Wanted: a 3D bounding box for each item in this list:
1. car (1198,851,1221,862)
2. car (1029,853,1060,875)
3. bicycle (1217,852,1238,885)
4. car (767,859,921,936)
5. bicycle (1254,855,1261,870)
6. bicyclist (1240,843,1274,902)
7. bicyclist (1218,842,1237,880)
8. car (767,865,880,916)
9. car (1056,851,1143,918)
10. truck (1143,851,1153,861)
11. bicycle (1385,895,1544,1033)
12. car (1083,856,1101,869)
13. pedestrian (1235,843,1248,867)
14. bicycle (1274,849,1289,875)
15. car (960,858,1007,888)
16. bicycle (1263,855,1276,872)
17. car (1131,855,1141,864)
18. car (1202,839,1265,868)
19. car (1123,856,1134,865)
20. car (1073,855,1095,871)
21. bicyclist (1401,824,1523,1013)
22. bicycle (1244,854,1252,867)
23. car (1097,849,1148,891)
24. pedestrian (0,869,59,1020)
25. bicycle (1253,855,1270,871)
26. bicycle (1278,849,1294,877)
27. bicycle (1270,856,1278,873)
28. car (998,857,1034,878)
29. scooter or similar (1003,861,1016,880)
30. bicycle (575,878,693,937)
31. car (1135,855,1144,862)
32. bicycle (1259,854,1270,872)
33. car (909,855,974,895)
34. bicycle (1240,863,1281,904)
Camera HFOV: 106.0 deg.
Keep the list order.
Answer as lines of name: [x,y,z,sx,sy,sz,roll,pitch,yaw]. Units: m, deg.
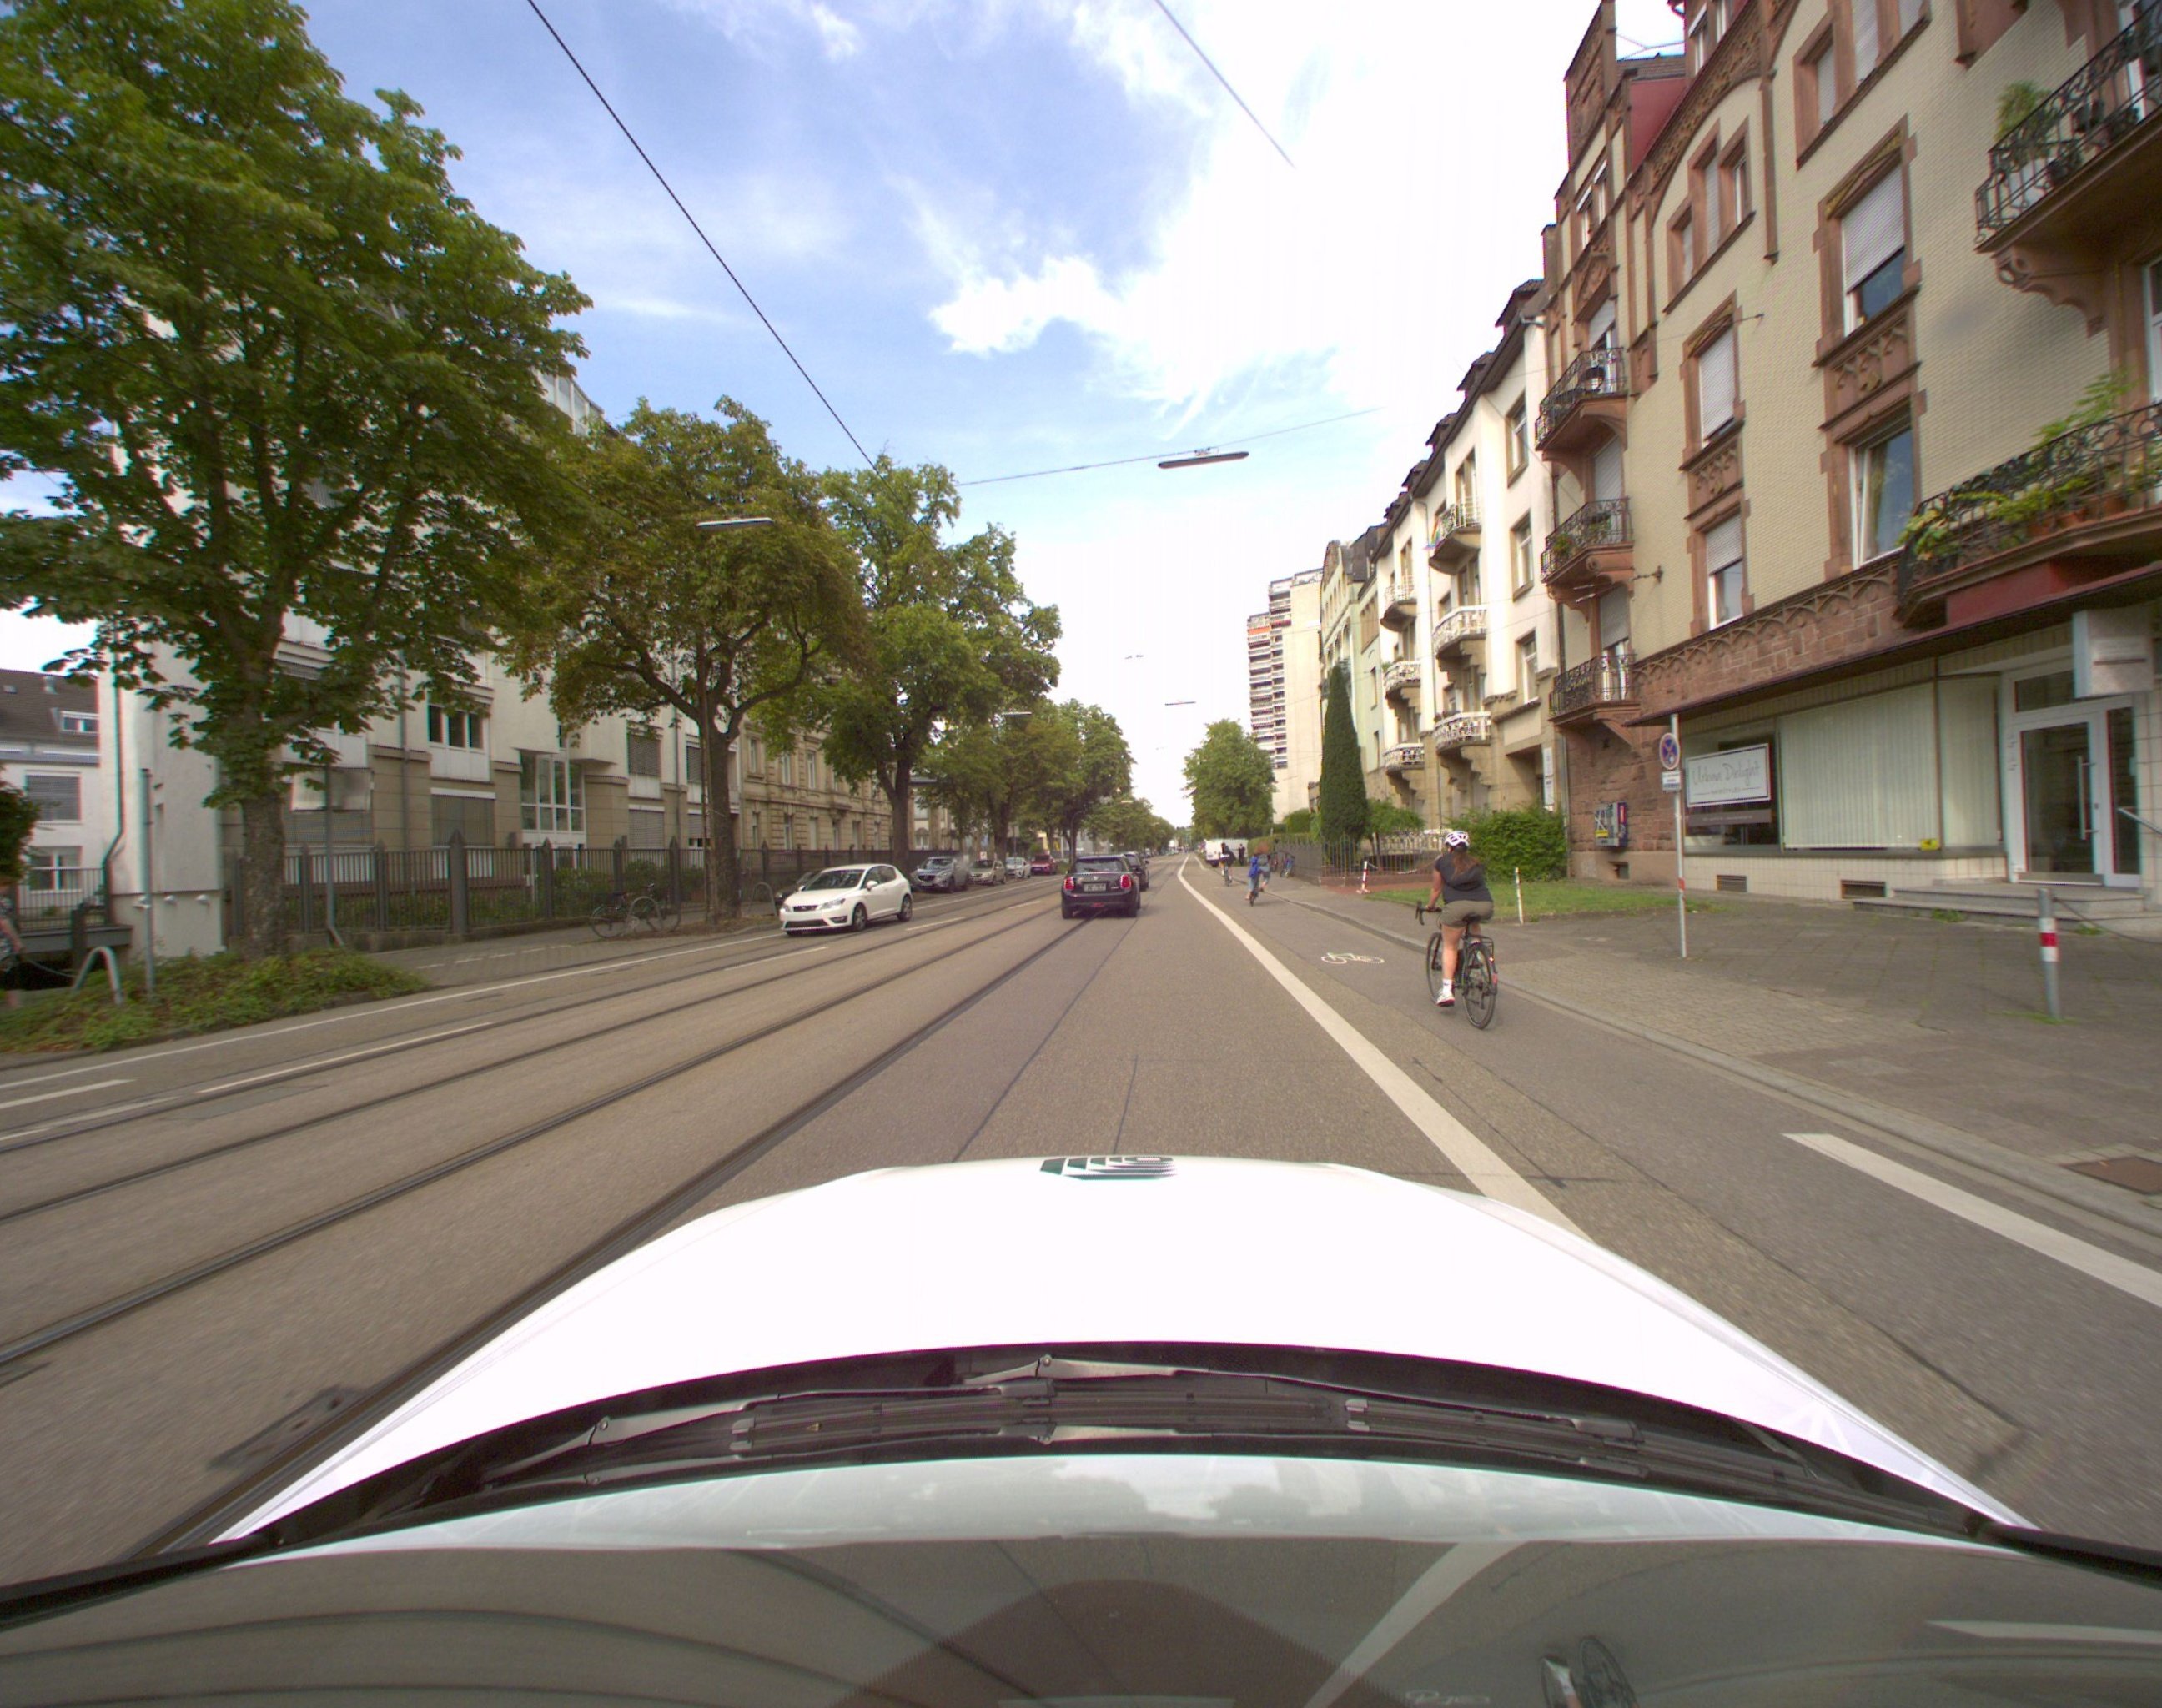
car: [20.422,0.351,129.210,3.459,1.573,1.544,-2,0,-31]
car: [-2.872,0.778,64.521,1.712,1.655,4.551,0,0,7]
bicycle: [5.763,0.551,32.030,0.654,1.249,2.129,-1,0,6]
car: [-5.197,0.892,18.440,1.561,1.416,4.013,-4,0,11]
bicycle: [11.095,0.523,51.151,0.383,0.907,1.670,-3,-1,12]
bicyclist: [4.655,0.481,21.492,0.641,1.470,0.805,-5,-1,22]
bicyclist: [5.755,0.256,32.079,0.654,1.463,1.181,-1,0,6]
car: [-8.067,1.092,25.912,1.710,1.424,4.177,0,0,9]
car: [0.544,0.661,19.674,1.785,1.423,4.006,-1,0,5]
truck: [17.473,0.495,212.352,2.060,2.470,4.909,-3,-1,7]
bicycle: [3.422,0.927,7.487,0.635,0.981,2.075,-1,0,5]
car: [1.322,1.018,94.189,1.684,1.427,3.876,-1,0,7]
pedestrian: [12.303,0.095,62.376,0.781,1.733,0.898,-5,-1,7]
bicycle: [9.129,0.341,37.099,0.389,1.142,1.925,-4,0,8]
car: [-5.328,1.010,44.876,1.592,1.468,4.087,-2,0,7]
bicycle: [9.981,0.500,43.081,0.483,0.907,1.669,-3,-1,8]
car: [11.349,1.128,169.017,1.793,1.583,4.039,-3,-1,7]
car: [12.710,-0.057,67.747,4.980,2.290,2.359,-1,-1,-36]
car: [8.721,1.143,149.546,1.793,1.583,4.039,-3,-1,7]
car: [0.337,0.923,86.931,1.746,1.647,4.060,-1,0,7]
bicyclist: [3.404,0.545,7.364,0.635,1.570,1.112,-1,0,5]
bicycle: [12.163,0.503,59.358,0.384,0.907,1.845,-3,-1,6]
car: [1.602,0.555,30.635,1.785,1.470,4.005,0,0,4]
pedestrian: [-12.876,1.062,9.620,0.702,1.735,0.701,-1,0,3]
bicycle: [10.342,0.538,46.770,0.484,0.907,1.663,-3,-1,-4]
bicycle: [8.663,0.369,34.416,0.389,1.103,1.763,-4,0,8]
bicycle: [9.774,0.530,41.277,0.276,0.852,1.200,-3,-1,8]
car: [-4.426,0.901,55.897,1.712,1.424,4.031,0,0,7]
scooter or similar: [-4.651,1.069,53.029,0.562,1.223,1.316,-2,0,-16]
bicycle: [-9.937,1.159,18.205,2.240,1.175,0.828,-1,0,-26]
car: [12.843,0.983,179.049,1.793,1.583,4.039,-3,-1,7]
bicycle: [10.125,0.495,44.866,0.482,0.907,1.670,-3,-1,11]
car: [-6.397,0.920,37.854,1.701,1.673,4.366,-2,0,7]
bicycle: [4.819,0.773,21.805,0.682,0.962,2.048,-2,0,23]
